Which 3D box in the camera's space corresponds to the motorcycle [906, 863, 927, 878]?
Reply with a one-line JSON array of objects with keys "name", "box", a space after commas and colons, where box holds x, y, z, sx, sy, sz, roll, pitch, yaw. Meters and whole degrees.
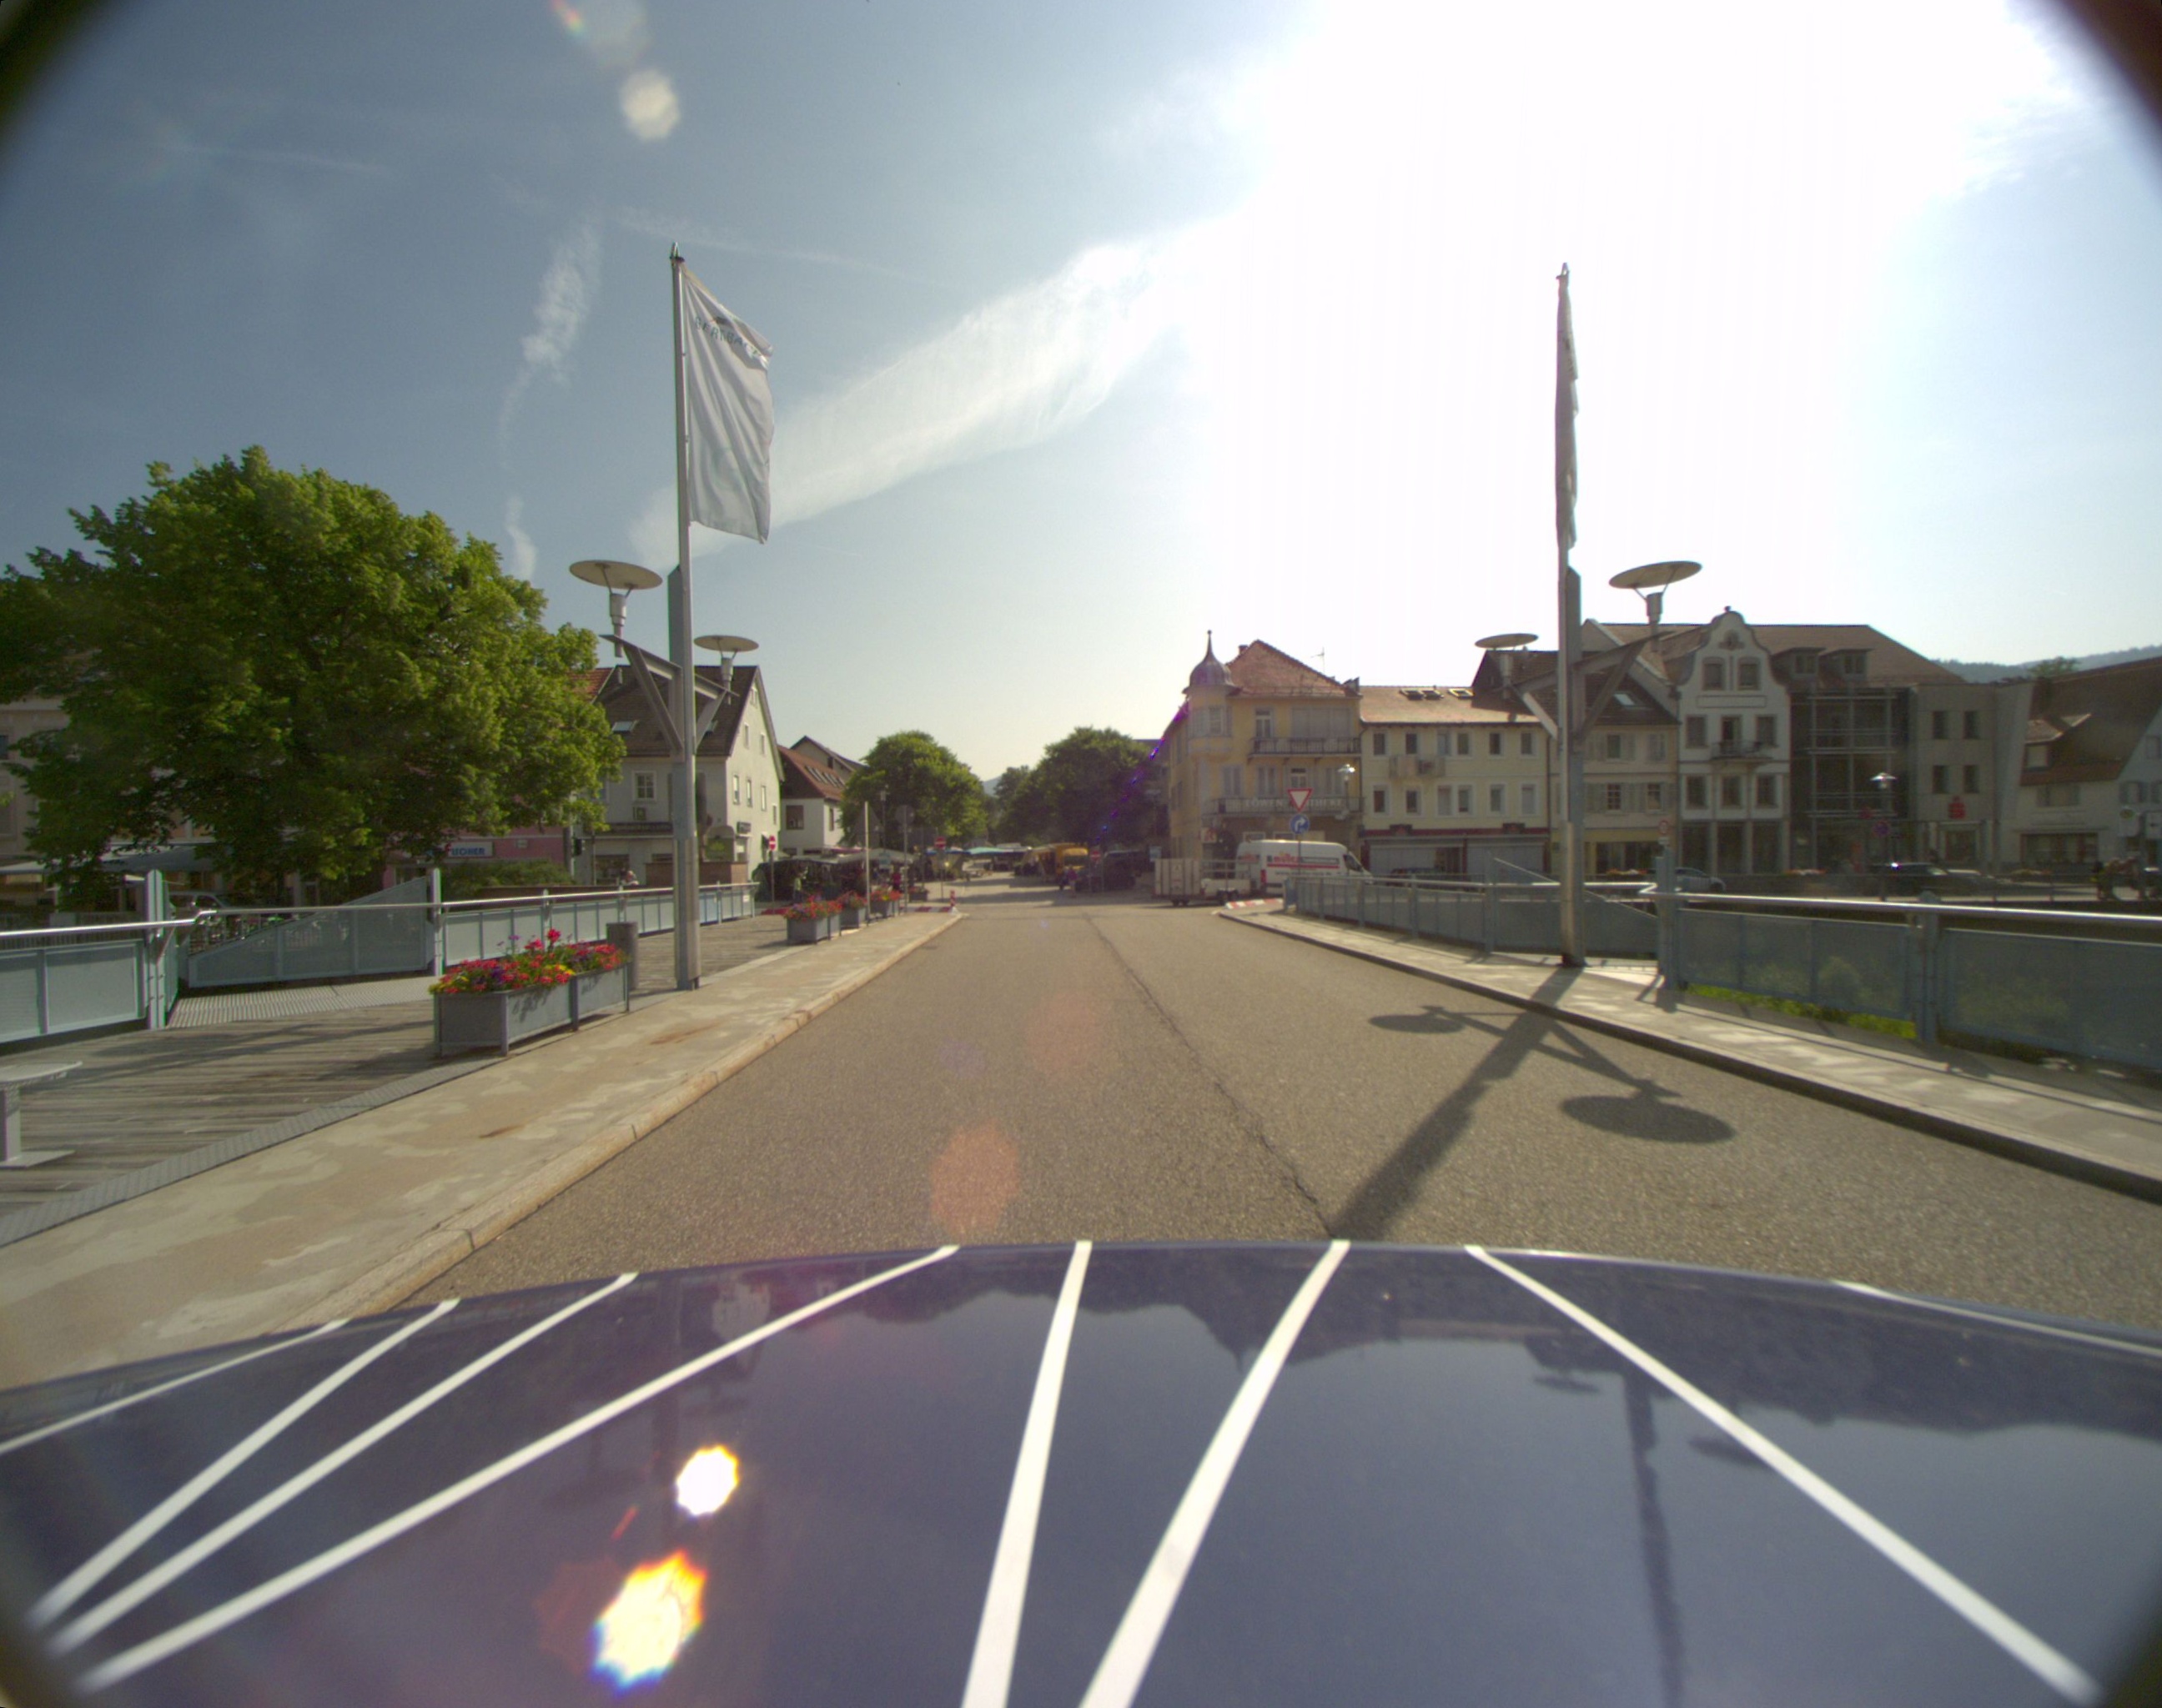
[{"name": "motorcycle", "box": [-13.245, 1.319, 61.312, 1.532, 1.189, 0.643, 1, 1, -4]}]

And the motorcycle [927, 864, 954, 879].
[{"name": "motorcycle", "box": [-11.283, 1.394, 61.050, 2.002, 1.189, 0.644, 2, 1, 9]}]

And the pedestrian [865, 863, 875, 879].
[{"name": "pedestrian", "box": [-16.468, 1.348, 59.274, 0.572, 1.194, 0.650, 1, 1, -3]}]

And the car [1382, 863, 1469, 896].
[{"name": "car", "box": [17.353, 1.267, 38.362, 3.567, 1.559, 1.852, -1, 0, -6]}]

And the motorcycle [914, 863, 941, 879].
[{"name": "motorcycle", "box": [-12.192, 1.371, 60.376, 2.002, 1.189, 0.644, 2, 1, 9]}]

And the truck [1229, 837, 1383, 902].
[{"name": "truck", "box": [10.098, 0.704, 33.881, 7.144, 2.682, 2.107, 0, -2, -28]}]

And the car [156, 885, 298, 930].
[{"name": "car", "box": [-39.041, 2.410, 34.840, 4.145, 1.730, 1.710, -2, 2, -7]}]

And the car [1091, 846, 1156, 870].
[{"name": "car", "box": [3.519, 0.325, 63.197, 5.073, 1.880, 1.999, -1, 0, -9]}]

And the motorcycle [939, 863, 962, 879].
[{"name": "motorcycle", "box": [-10.637, 1.380, 61.997, 1.999, 1.189, 0.645, 2, 1, 38]}]

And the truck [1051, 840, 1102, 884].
[{"name": "truck", "box": [-0.471, 0.450, 54.542, 3.009, 2.742, 8.855, -2, 1, -4]}]

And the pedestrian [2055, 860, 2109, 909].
[{"name": "pedestrian", "box": [36.120, 1.086, 27.430, 0.777, 1.696, 0.869, -1, 1, -3]}]

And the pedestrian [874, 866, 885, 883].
[{"name": "pedestrian", "box": [-14.679, 1.493, 55.382, 0.700, 1.194, 0.571, 1, 1, -18]}]

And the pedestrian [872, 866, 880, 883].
[{"name": "pedestrian", "box": [-15.157, 1.495, 56.188, 0.572, 1.194, 0.650, 1, 1, -15]}]

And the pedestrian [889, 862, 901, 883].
[{"name": "pedestrian", "box": [-13.786, 1.384, 56.258, 0.699, 1.544, 0.572, 1, 1, 2]}]

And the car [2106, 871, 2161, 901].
[{"name": "car", "box": [54.707, 1.583, 38.277, 4.199, 1.348, 1.755, -2, -1, -7]}]

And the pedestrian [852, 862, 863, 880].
[{"name": "pedestrian", "box": [-17.011, 1.303, 57.880, 0.626, 1.323, 0.699, 1, 1, -1]}]

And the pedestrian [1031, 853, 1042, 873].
[{"name": "pedestrian", "box": [-3.862, 0.788, 65.928, 0.682, 1.672, 0.582, -3, 2, -21]}]

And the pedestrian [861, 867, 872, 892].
[{"name": "pedestrian", "box": [-13.460, 1.578, 47.656, 0.623, 1.509, 0.632, -1, 0, -22]}]

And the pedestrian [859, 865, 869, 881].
[{"name": "pedestrian", "box": [-16.128, 1.404, 56.568, 0.572, 1.194, 0.650, 1, 1, -3]}]

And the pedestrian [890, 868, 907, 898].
[{"name": "pedestrian", "box": [-10.089, 1.616, 42.088, 0.884, 1.649, 0.571, 1, 1, -12]}]

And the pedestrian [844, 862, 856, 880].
[{"name": "pedestrian", "box": [-17.363, 1.264, 57.087, 0.626, 1.323, 0.699, 1, 1, -1]}]

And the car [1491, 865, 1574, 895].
[{"name": "car", "box": [23.130, 1.310, 38.973, 3.275, 1.439, 1.752, -1, 0, -6]}]

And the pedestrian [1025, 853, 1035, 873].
[{"name": "pedestrian", "box": [-4.485, 0.810, 66.884, 0.682, 1.672, 0.582, -3, 1, -19]}]

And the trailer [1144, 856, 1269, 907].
[{"name": "trailer", "box": [5.117, 1.012, 30.212, 2.612, 1.817, 5.650, -1, -1, 37]}]

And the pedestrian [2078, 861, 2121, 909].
[{"name": "pedestrian", "box": [36.791, 1.100, 27.453, 0.491, 1.696, 0.791, -1, 1, -3]}]

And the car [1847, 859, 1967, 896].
[{"name": "car", "box": [38.001, 1.064, 34.983, 3.970, 1.551, 1.683, -2, 0, -6]}]

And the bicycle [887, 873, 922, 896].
[{"name": "bicycle", "box": [-10.060, 1.738, 43.331, 1.864, 1.228, 0.616, -1, 1, -17]}]

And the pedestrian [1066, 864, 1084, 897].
[{"name": "pedestrian", "box": [-0.300, 1.396, 39.916, 0.678, 1.705, 0.618, -1, 1, 26]}]

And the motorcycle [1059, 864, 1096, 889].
[{"name": "motorcycle", "box": [-0.213, 1.368, 46.488, 2.087, 1.353, 0.888, -3, 1, -6]}]

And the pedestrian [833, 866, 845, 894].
[{"name": "pedestrian", "box": [-14.555, 1.563, 45.740, 0.522, 1.617, 0.707, -1, 0, -8]}]

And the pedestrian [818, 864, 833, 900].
[{"name": "pedestrian", "box": [-14.333, 1.545, 42.623, 0.708, 1.973, 0.651, -1, 0, -25]}]

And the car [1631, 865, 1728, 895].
[{"name": "car", "box": [31.096, 1.320, 39.522, 3.794, 1.439, 1.752, -1, 0, -6]}]

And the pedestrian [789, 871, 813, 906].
[{"name": "pedestrian", "box": [-13.902, 1.702, 37.776, 0.858, 1.623, 0.788, -1, 3, -3]}]

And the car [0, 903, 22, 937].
[{"name": "car", "box": [-48.273, 2.879, 32.182, 3.999, 1.439, 1.735, -1, 0, -6]}]

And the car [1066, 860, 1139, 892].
[{"name": "car", "box": [1.284, 1.243, 44.137, 3.966, 1.534, 1.918, -4, 2, -43]}]

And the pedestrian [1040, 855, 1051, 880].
[{"name": "pedestrian", "box": [-2.592, 0.994, 55.301, 0.681, 1.777, 0.726, -3, 2, -7]}]

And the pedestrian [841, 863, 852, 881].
[{"name": "pedestrian", "box": [-17.382, 1.312, 56.315, 0.626, 1.323, 0.699, 1, 1, -1]}]
